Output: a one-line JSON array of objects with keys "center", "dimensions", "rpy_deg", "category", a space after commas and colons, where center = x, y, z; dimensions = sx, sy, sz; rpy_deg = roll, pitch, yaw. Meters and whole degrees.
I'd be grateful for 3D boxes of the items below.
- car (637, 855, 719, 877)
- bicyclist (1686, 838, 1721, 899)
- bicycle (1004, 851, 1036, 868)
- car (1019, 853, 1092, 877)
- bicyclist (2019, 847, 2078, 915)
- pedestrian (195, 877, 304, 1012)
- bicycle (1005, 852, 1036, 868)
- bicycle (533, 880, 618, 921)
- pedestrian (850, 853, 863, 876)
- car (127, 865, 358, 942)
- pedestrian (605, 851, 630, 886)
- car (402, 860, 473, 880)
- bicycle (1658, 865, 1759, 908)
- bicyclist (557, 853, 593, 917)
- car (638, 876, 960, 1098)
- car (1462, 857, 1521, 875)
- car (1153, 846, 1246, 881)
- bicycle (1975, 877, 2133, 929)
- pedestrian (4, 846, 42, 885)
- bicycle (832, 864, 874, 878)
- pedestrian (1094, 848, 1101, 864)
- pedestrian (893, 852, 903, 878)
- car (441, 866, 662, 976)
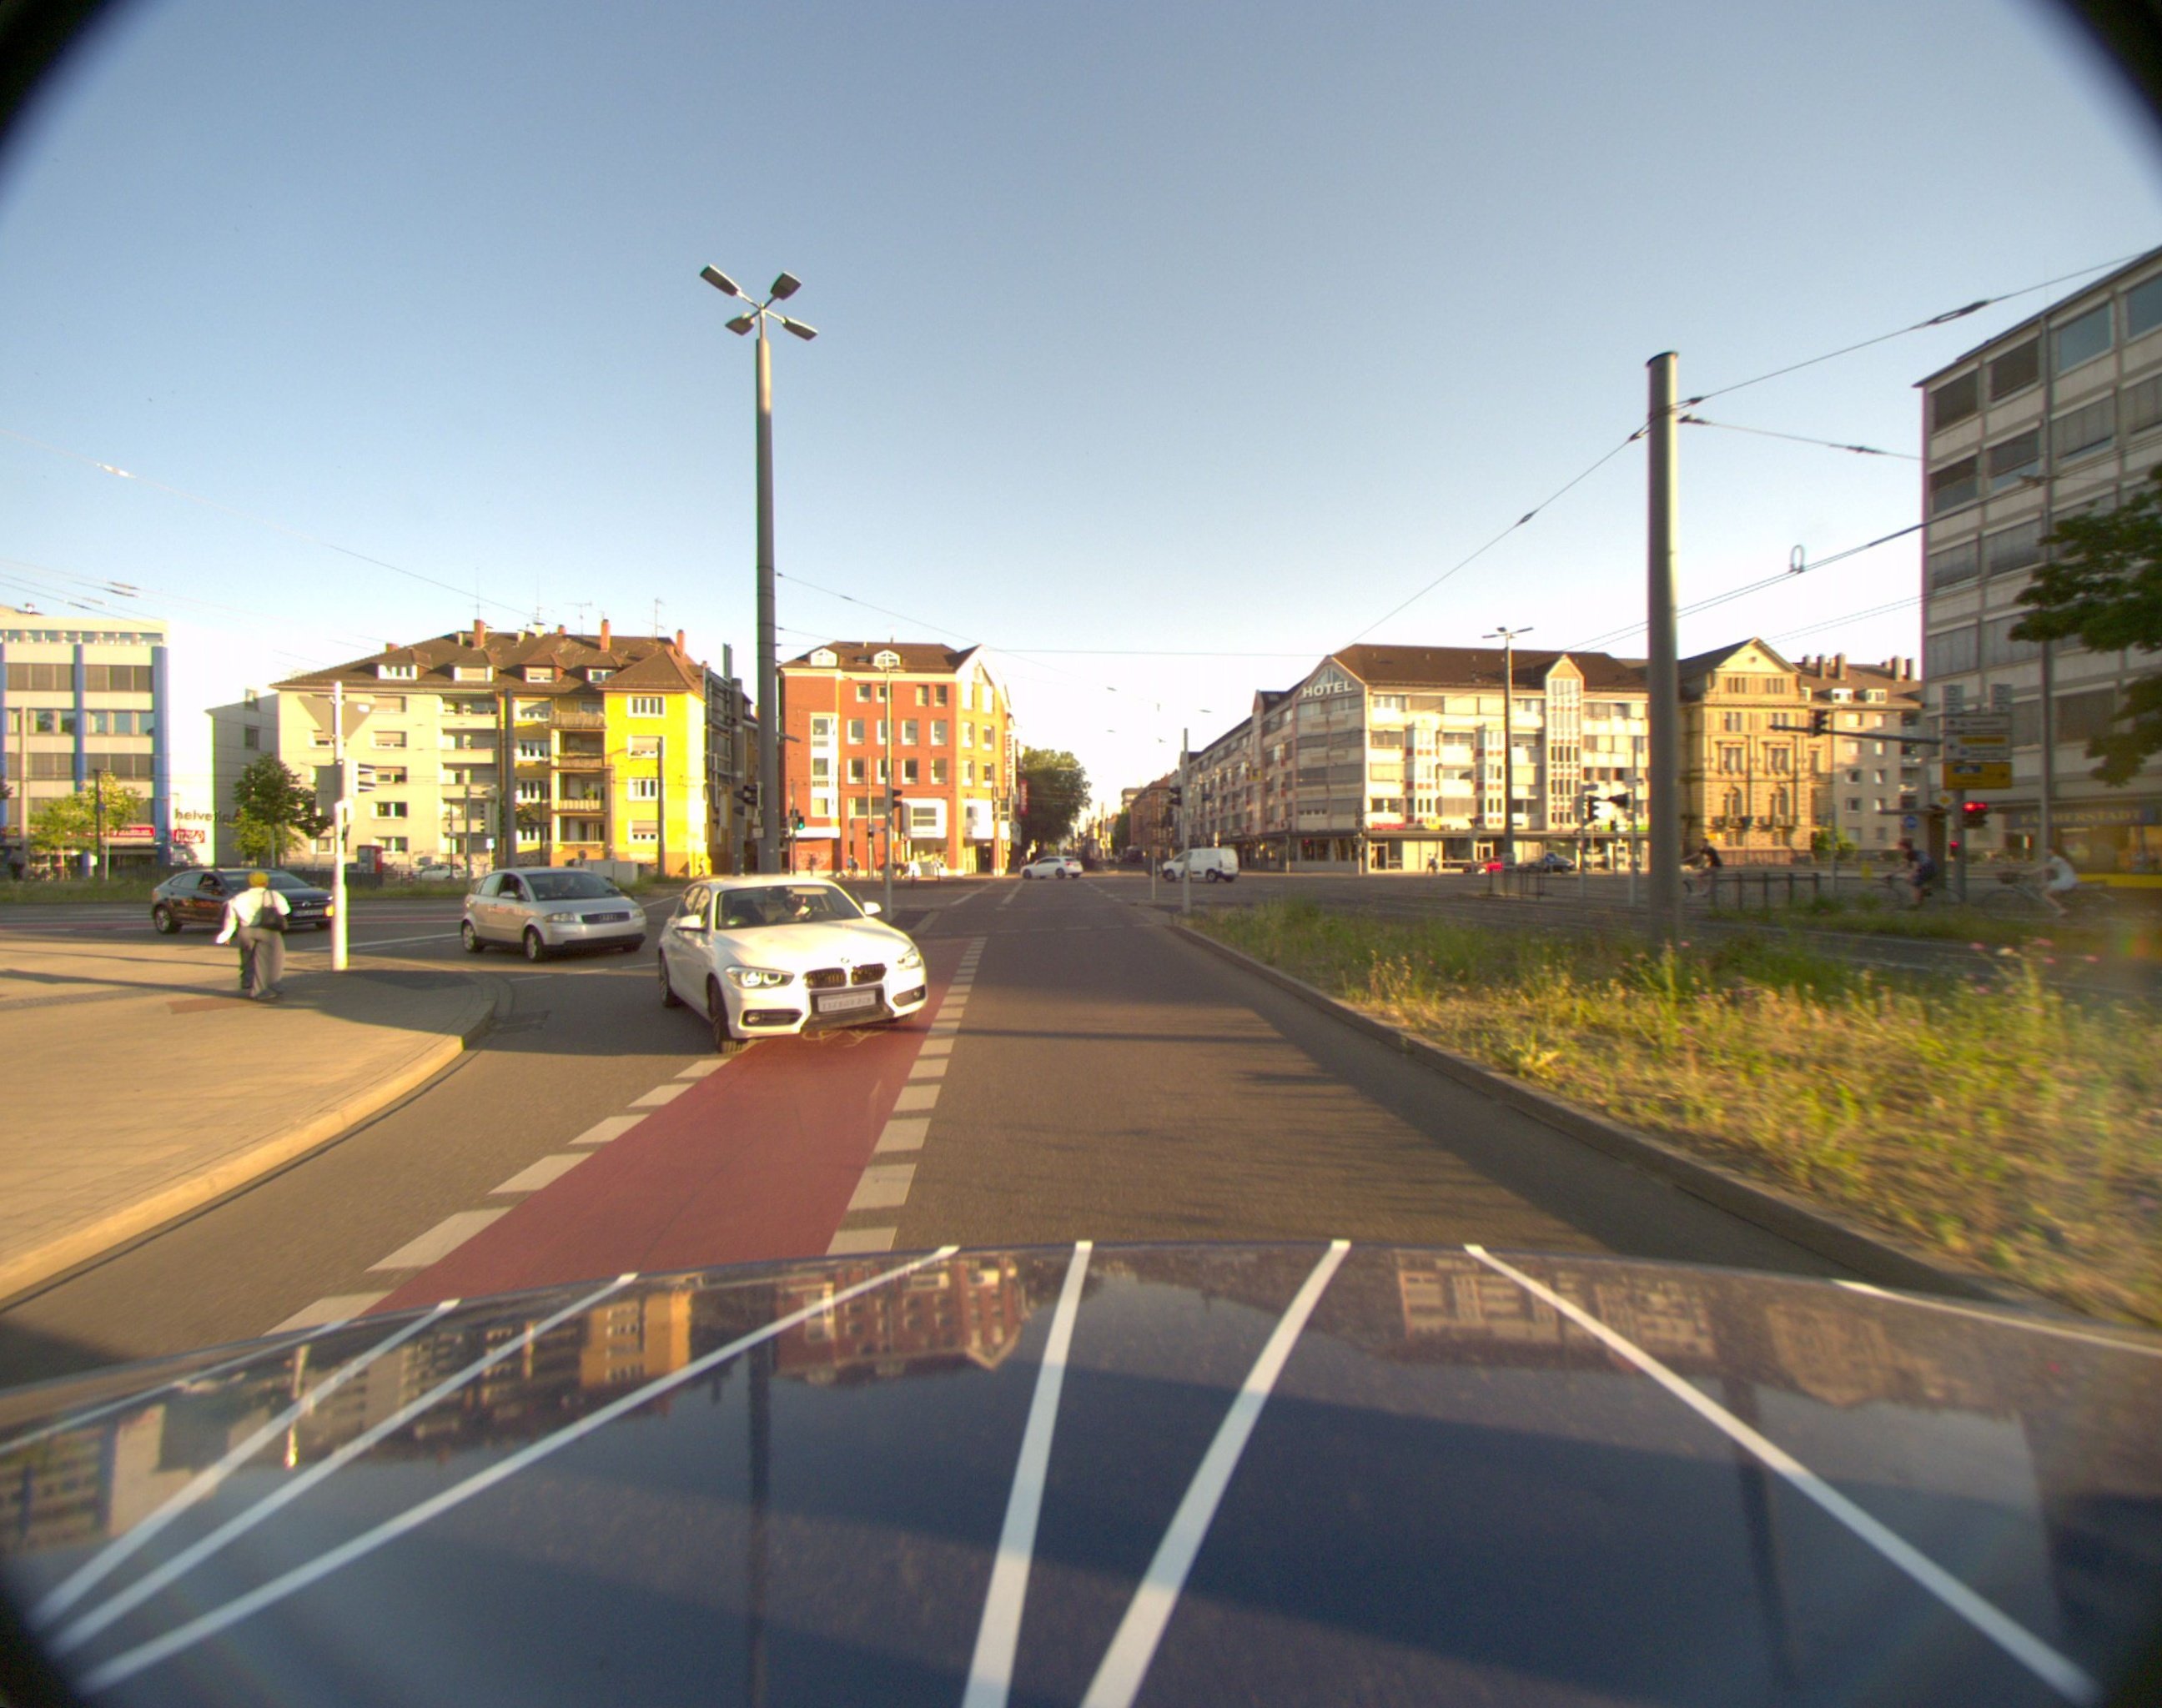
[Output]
[{"center": [-28.167, 0.856, 53.260], "dimensions": [4.703, 1.495, 1.915], "rpy_deg": [0, 0, -9], "category": "car"}, {"center": [16.764, 0.374, 20.461], "dimensions": [0.698, 1.602, 0.739], "rpy_deg": [0, 1, 40], "category": "bicyclist"}, {"center": [-6.289, 0.573, 78.682], "dimensions": [3.306, 1.716, 1.069], "rpy_deg": [0, 1, -3], "category": "bicycle"}, {"center": [-1.699, 0.697, 49.906], "dimensions": [4.550, 1.440, 1.820], "rpy_deg": [0, 1, 35], "category": "car"}, {"center": [20.043, 0.538, 15.743], "dimensions": [0.717, 1.361, 0.682], "rpy_deg": [-1, 1, -33], "category": "bicyclist"}, {"center": [-10.303, 1.103, 9.433], "dimensions": [0.689, 1.604, 0.596], "rpy_deg": [0, 1, 2], "category": "pedestrian"}, {"center": [-6.340, 0.598, 79.851], "dimensions": [3.306, 1.716, 1.069], "rpy_deg": [0, 1, -4], "category": "bicycle"}, {"center": [-13.478, 1.220, 20.314], "dimensions": [1.850, 1.017, 0.595], "rpy_deg": [0, 1, -33], "category": "bicycle"}, {"center": [-17.513, 0.775, 59.312], "dimensions": [0.873, 1.768, 0.916], "rpy_deg": [-1, 1, -11], "category": "pedestrian"}, {"center": [-19.770, 1.088, 17.960], "dimensions": [4.383, 1.608, 1.947], "rpy_deg": [0, 1, 17], "category": "car"}, {"center": [-20.581, 0.644, 33.738], "dimensions": [0.636, 1.532, 0.708], "rpy_deg": [0, 1, 11], "category": "pedestrian"}, {"center": [-47.215, 1.142, 55.798], "dimensions": [3.543, 1.412, 1.738], "rpy_deg": [0, 0, -8], "category": "car"}, {"center": [16.827, 0.844, 20.413], "dimensions": [2.052, 1.069, 0.758], "rpy_deg": [0, 1, 41], "category": "bicycle"}, {"center": [-13.507, 0.820, 20.305], "dimensions": [0.749, 1.661, 0.594], "rpy_deg": [-2, 2, -33], "category": "bicyclist"}, {"center": [-3.114, 1.022, 7.753], "dimensions": [1.920, 1.397, 4.292], "rpy_deg": [-1, 1, -37], "category": "car"}, {"center": [32.524, 0.921, 60.202], "dimensions": [3.896, 1.414, 1.648], "rpy_deg": [0, 0, -8], "category": "car"}, {"center": [6.487, 0.477, 42.011], "dimensions": [2.005, 1.827, 4.861], "rpy_deg": [-1, 0, -45], "category": "car"}, {"center": [20.062, 0.982, 15.715], "dimensions": [0.726, 0.925, 1.949], "rpy_deg": [-1, 1, -33], "category": "bicycle"}, {"center": [-43.197, 0.473, 31.024], "dimensions": [0.690, 1.581, 0.565], "rpy_deg": [0, 1, -3], "category": "pedestrian"}, {"center": [-17.500, 1.278, 58.385], "dimensions": [3.065, 1.011, 0.930], "rpy_deg": [0, 0, -12], "category": "bicycle"}, {"center": [2.060, 0.234, 97.389], "dimensions": [0.811, 2.002, 0.677], "rpy_deg": [-1, 1, -6], "category": "pedestrian"}, {"center": [-12.144, 0.733, 50.346], "dimensions": [0.418, 1.698, 0.516], "rpy_deg": [0, 1, 14], "category": "pedestrian"}, {"center": [-9.279, 1.056, 13.274], "dimensions": [3.716, 1.553, 1.683], "rpy_deg": [0, 3, 30], "category": "car"}]
